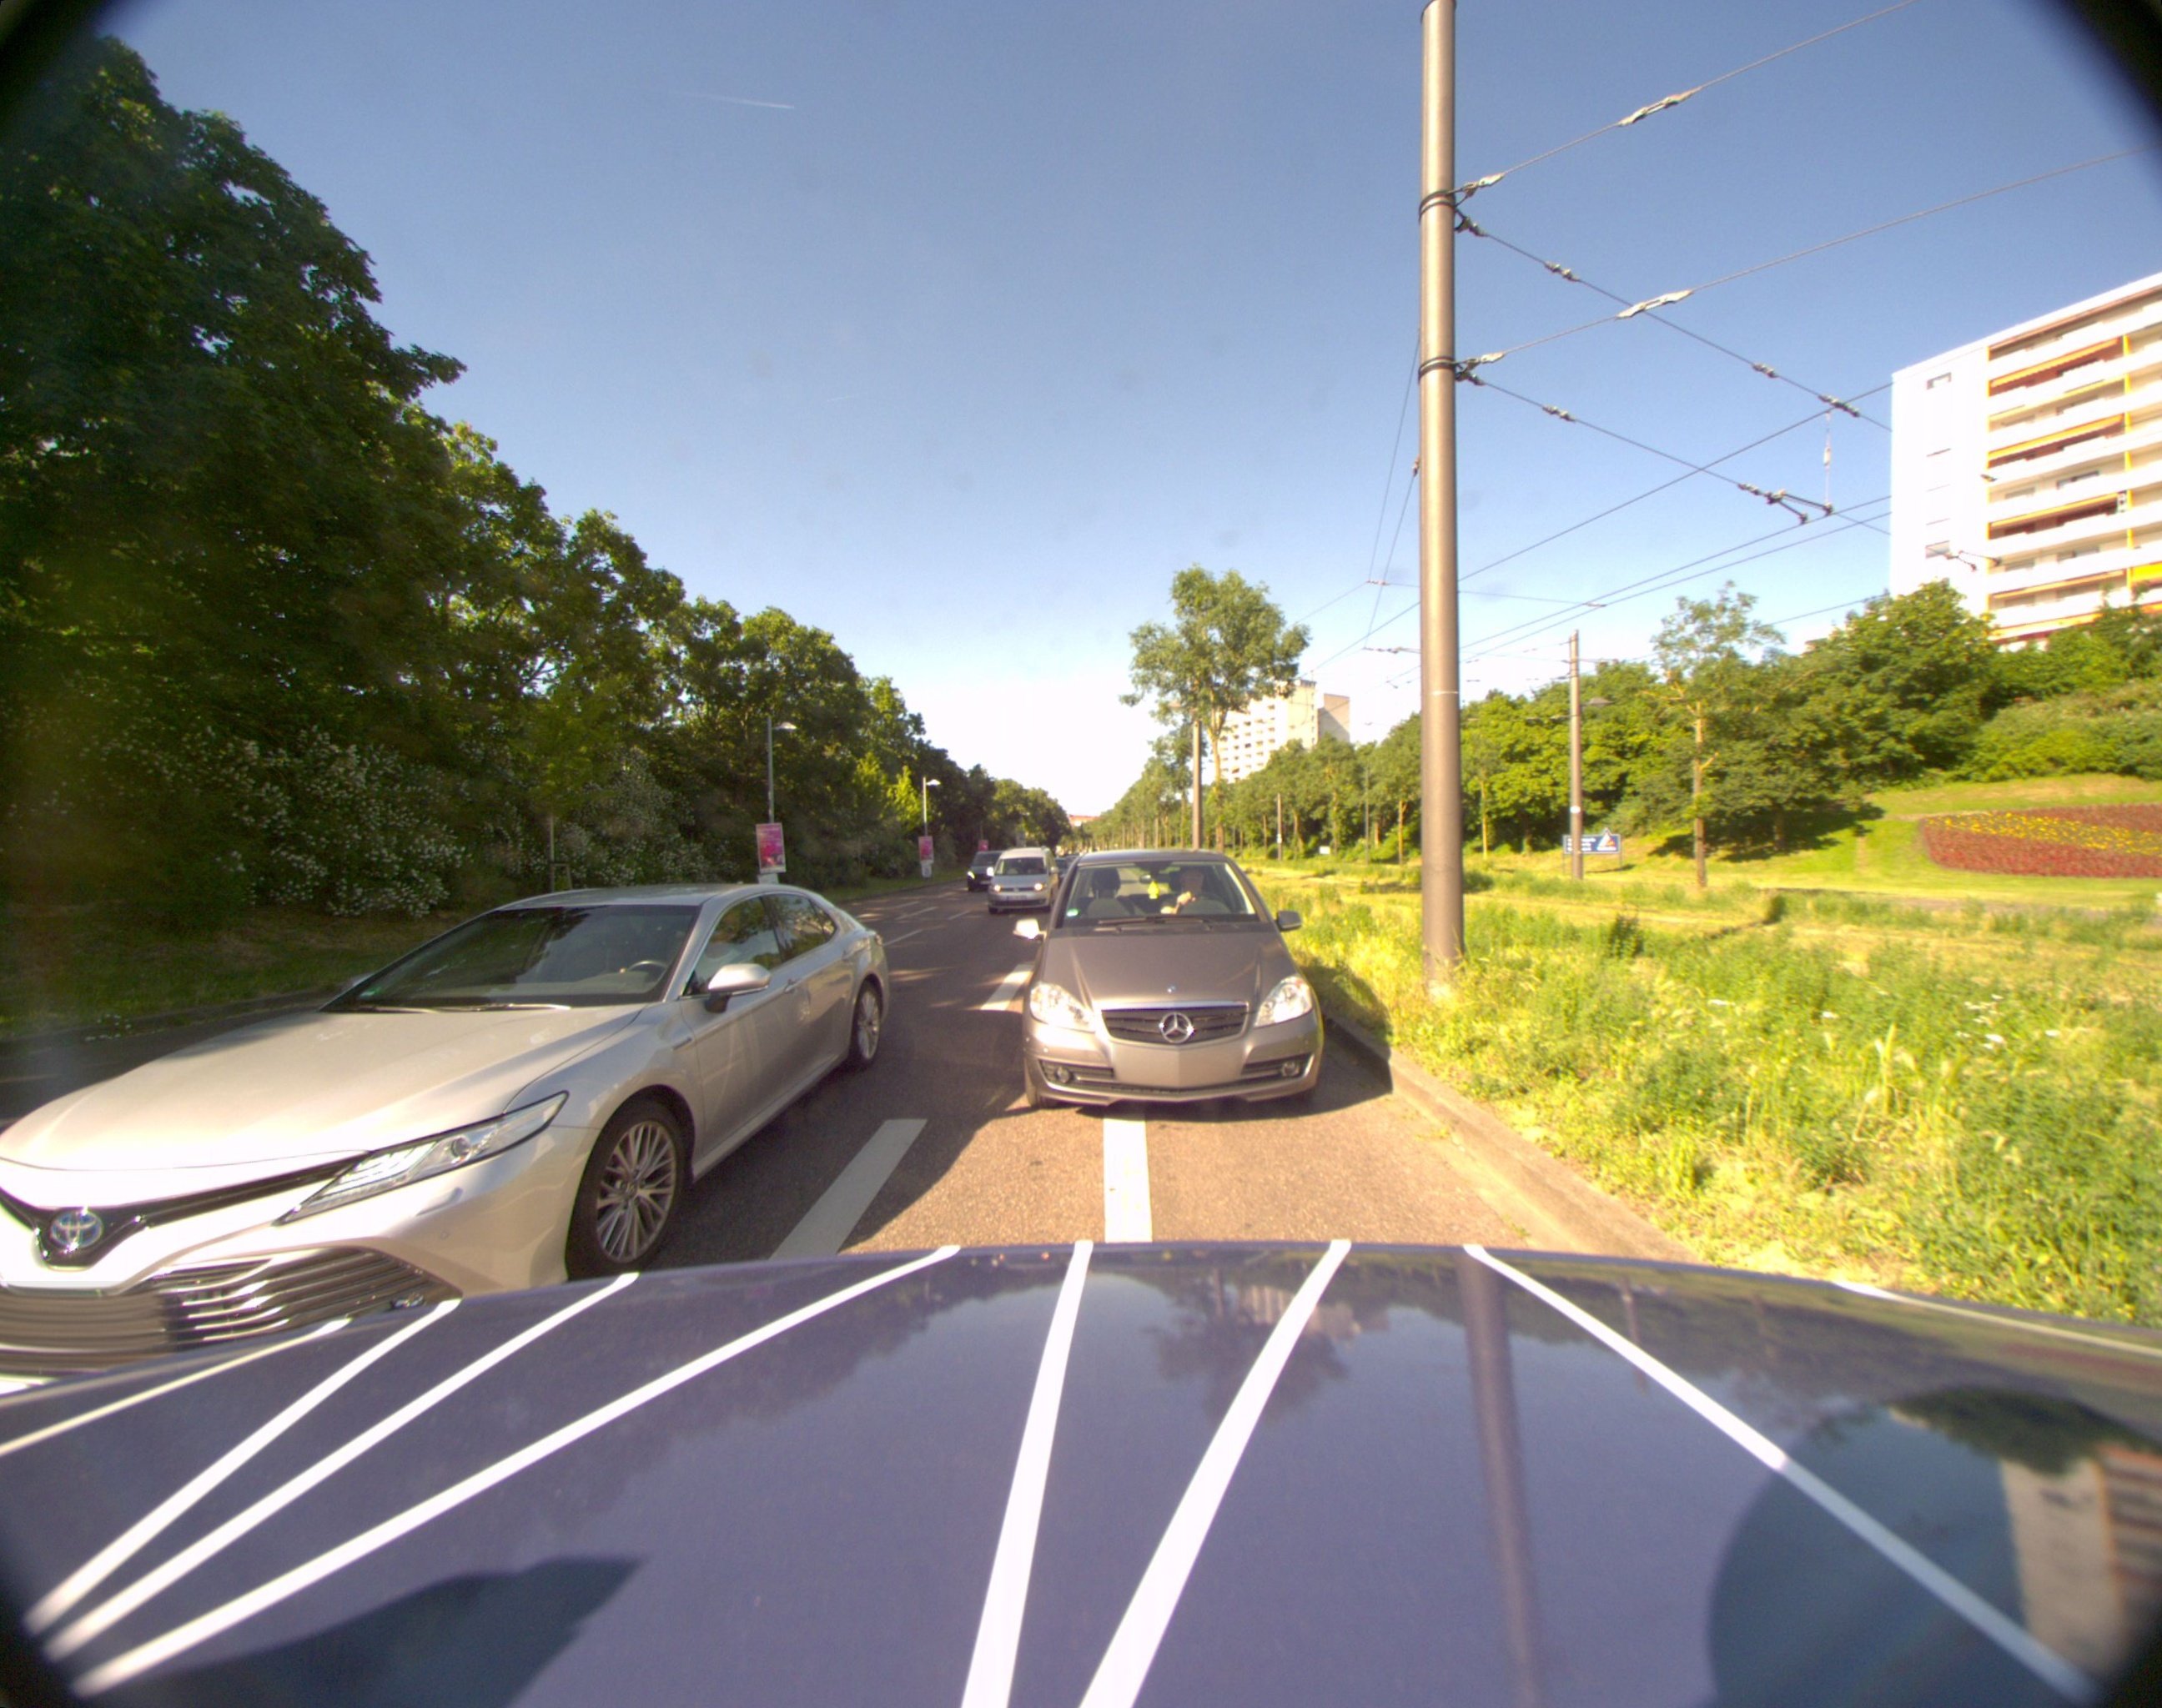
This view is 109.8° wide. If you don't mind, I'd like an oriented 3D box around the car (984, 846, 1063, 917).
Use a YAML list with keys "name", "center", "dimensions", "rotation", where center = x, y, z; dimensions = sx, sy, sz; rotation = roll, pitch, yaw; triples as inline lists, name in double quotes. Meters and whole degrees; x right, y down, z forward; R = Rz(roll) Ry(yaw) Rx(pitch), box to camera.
- name: "car"
  center: [-1.598, 0.734, 22.682]
  dimensions: [1.822, 1.893, 4.622]
  rotation: [-1, 0, 2]

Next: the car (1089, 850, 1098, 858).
- name: "car"
  center: [2.438, 0.059, 152.697]
  dimensions: [1.777, 1.597, 4.384]
  rotation: [-1, 0, 1]

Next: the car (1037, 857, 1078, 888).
- name: "car"
  center: [-1.091, 0.871, 37.374]
  dimensions: [1.776, 1.395, 4.067]
  rotation: [-1, 0, 2]

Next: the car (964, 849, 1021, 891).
- name: "car"
  center: [-4.206, 0.703, 36.958]
  dimensions: [1.998, 1.882, 5.148]
  rotation: [-1, 0, 1]

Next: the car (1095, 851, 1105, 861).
- name: "car"
  center: [3.385, 0.351, 135.573]
  dimensions: [1.777, 1.597, 4.384]
  rotation: [-1, 0, 1]

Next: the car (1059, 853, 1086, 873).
- name: "car"
  center: [-0.572, 0.664, 56.084]
  dimensions: [1.776, 1.395, 4.067]
  rotation: [-1, 0, 2]

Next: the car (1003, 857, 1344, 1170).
- name: "car"
  center: [0.517, 0.851, 6.194]
  dimensions: [1.777, 1.597, 4.384]
  rotation: [-1, 0, 1]

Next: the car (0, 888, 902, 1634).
- name: "car"
  center: [-2.643, 1.044, 4.111]
  dimensions: [2.069, 1.451, 4.749]
  rotation: [-1, 0, 2]
